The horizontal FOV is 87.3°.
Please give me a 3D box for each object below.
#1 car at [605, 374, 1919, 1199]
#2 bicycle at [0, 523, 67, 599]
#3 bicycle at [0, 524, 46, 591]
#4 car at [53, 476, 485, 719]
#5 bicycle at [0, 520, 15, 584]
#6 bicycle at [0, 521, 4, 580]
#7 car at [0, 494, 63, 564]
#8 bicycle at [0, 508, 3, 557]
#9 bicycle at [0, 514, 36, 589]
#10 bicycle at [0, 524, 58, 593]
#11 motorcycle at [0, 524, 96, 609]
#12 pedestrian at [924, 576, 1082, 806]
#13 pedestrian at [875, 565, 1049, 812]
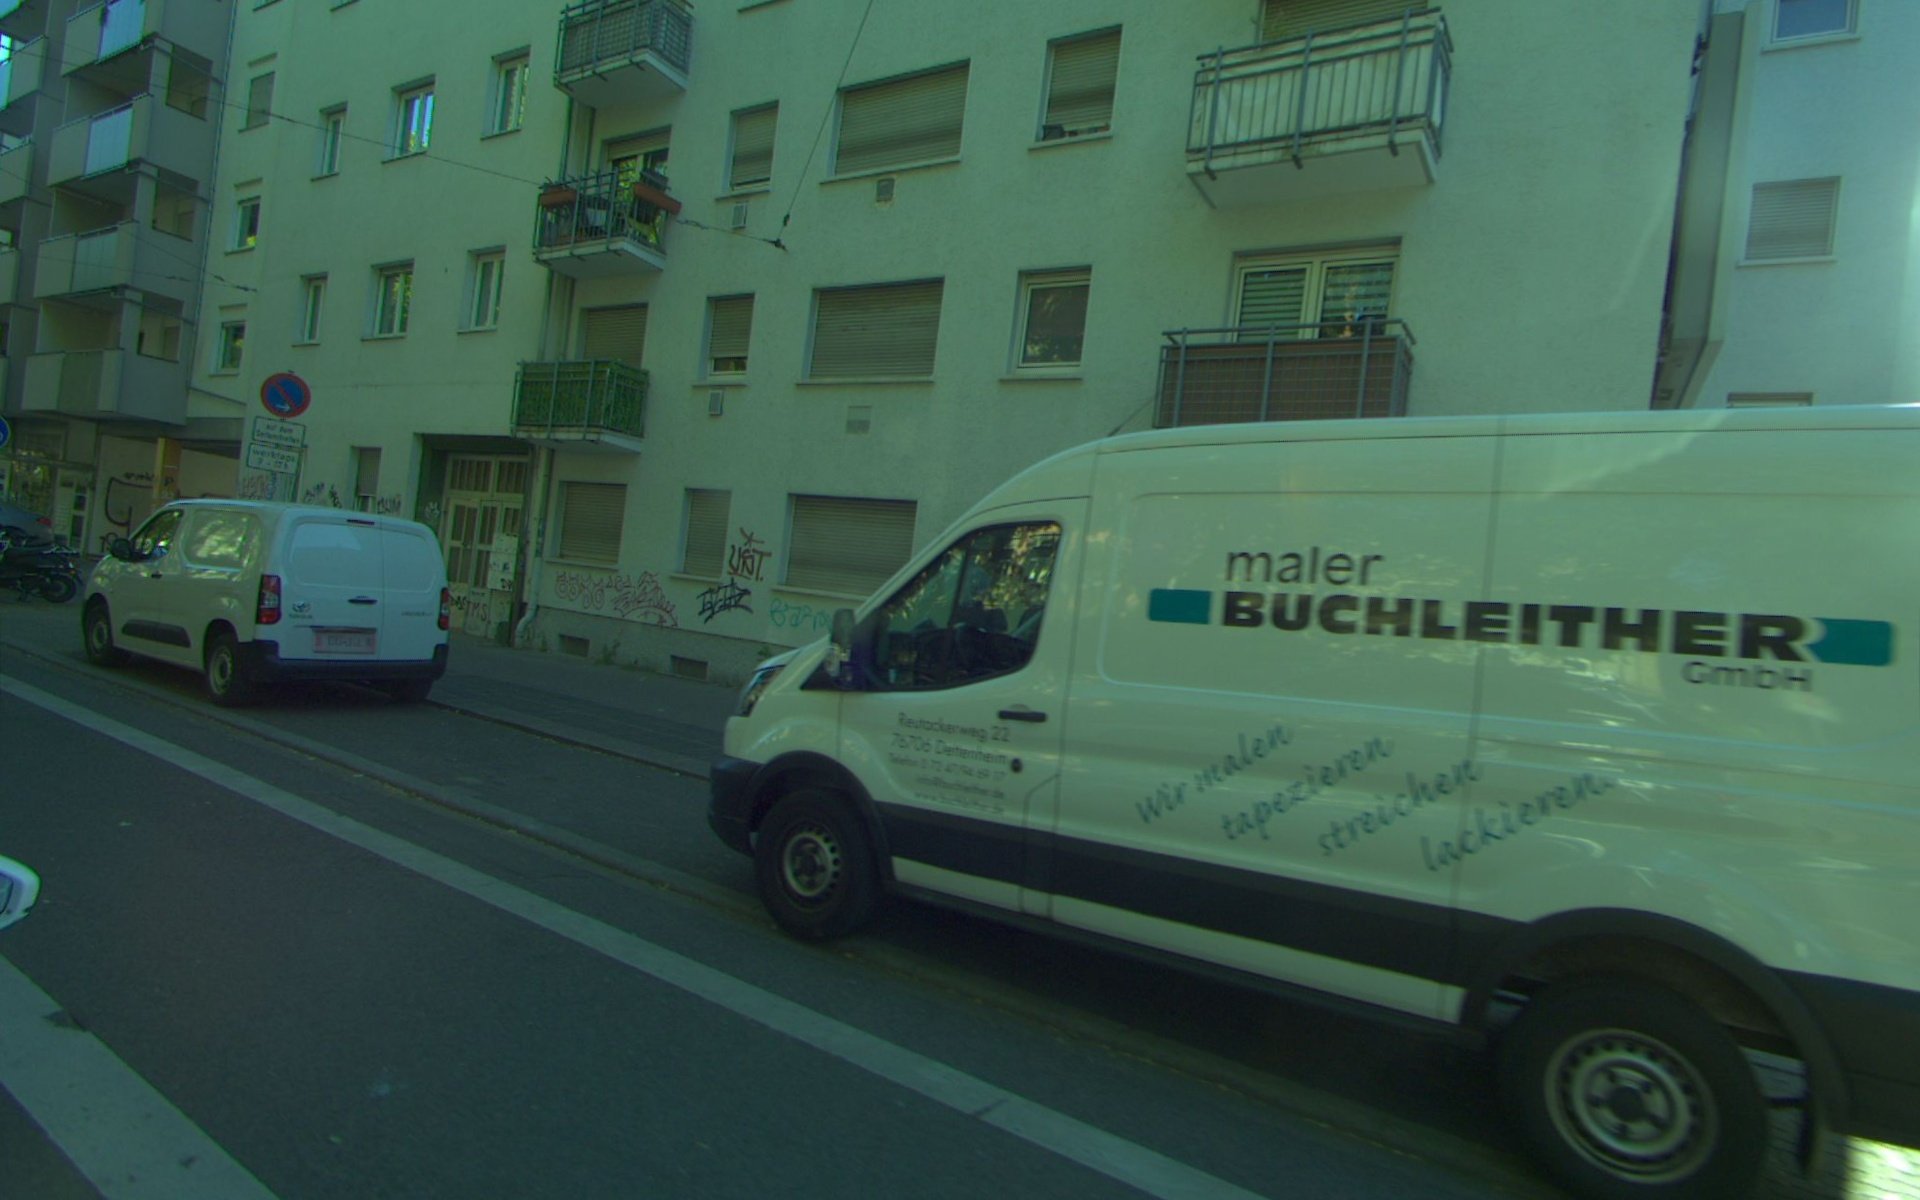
[{"bbox_3d":[1.334,0.544,4.706,5.987,2.525,2.152,6,-1,32],"label":"car"},{"bbox_3d":[-14.352,-0.615,14.848,0.449,1.069,1.653,7,1,32],"label":"bicycle"},{"bbox_3d":[-15.241,-0.706,15.470,0.449,1.000,1.654,7,1,32],"label":"bicycle"},{"bbox_3d":[-7.017,-0.082,10.114,4.278,1.842,1.861,7,0,31],"label":"car"},{"bbox_3d":[-16.441,-0.850,16.228,0.449,1.034,1.654,7,1,32],"label":"bicycle"},{"bbox_3d":[-16.866,-0.897,16.483,0.449,0.978,1.654,7,1,32],"label":"bicycle"},{"bbox_3d":[-22.804,-1.775,21.819,1.830,1.455,4.626,7,0,21],"label":"car"},{"bbox_3d":[-17.255,-1.051,16.746,0.449,1.207,1.824,7,1,32],"label":"bicycle"},{"bbox_3d":[-15.874,-0.838,15.835,0.693,1.163,1.795,7,1,32],"label":"bicycle"},{"bbox_3d":[-14.817,-0.664,15.206,0.449,1.000,1.654,7,1,32],"label":"bicycle"},{"bbox_3d":[-13.587,-0.513,14.337,1.807,1.093,0.611,7,0,-35],"label":"motorcycle"},{"bbox_3d":[0.378,0.771,8.916,1.064,1.846,0.625,6,1,34],"label":"pedestrian"},{"bbox_3d":[0.018,0.696,8.351,1.064,1.846,0.710,6,1,34],"label":"pedestrian"}]
